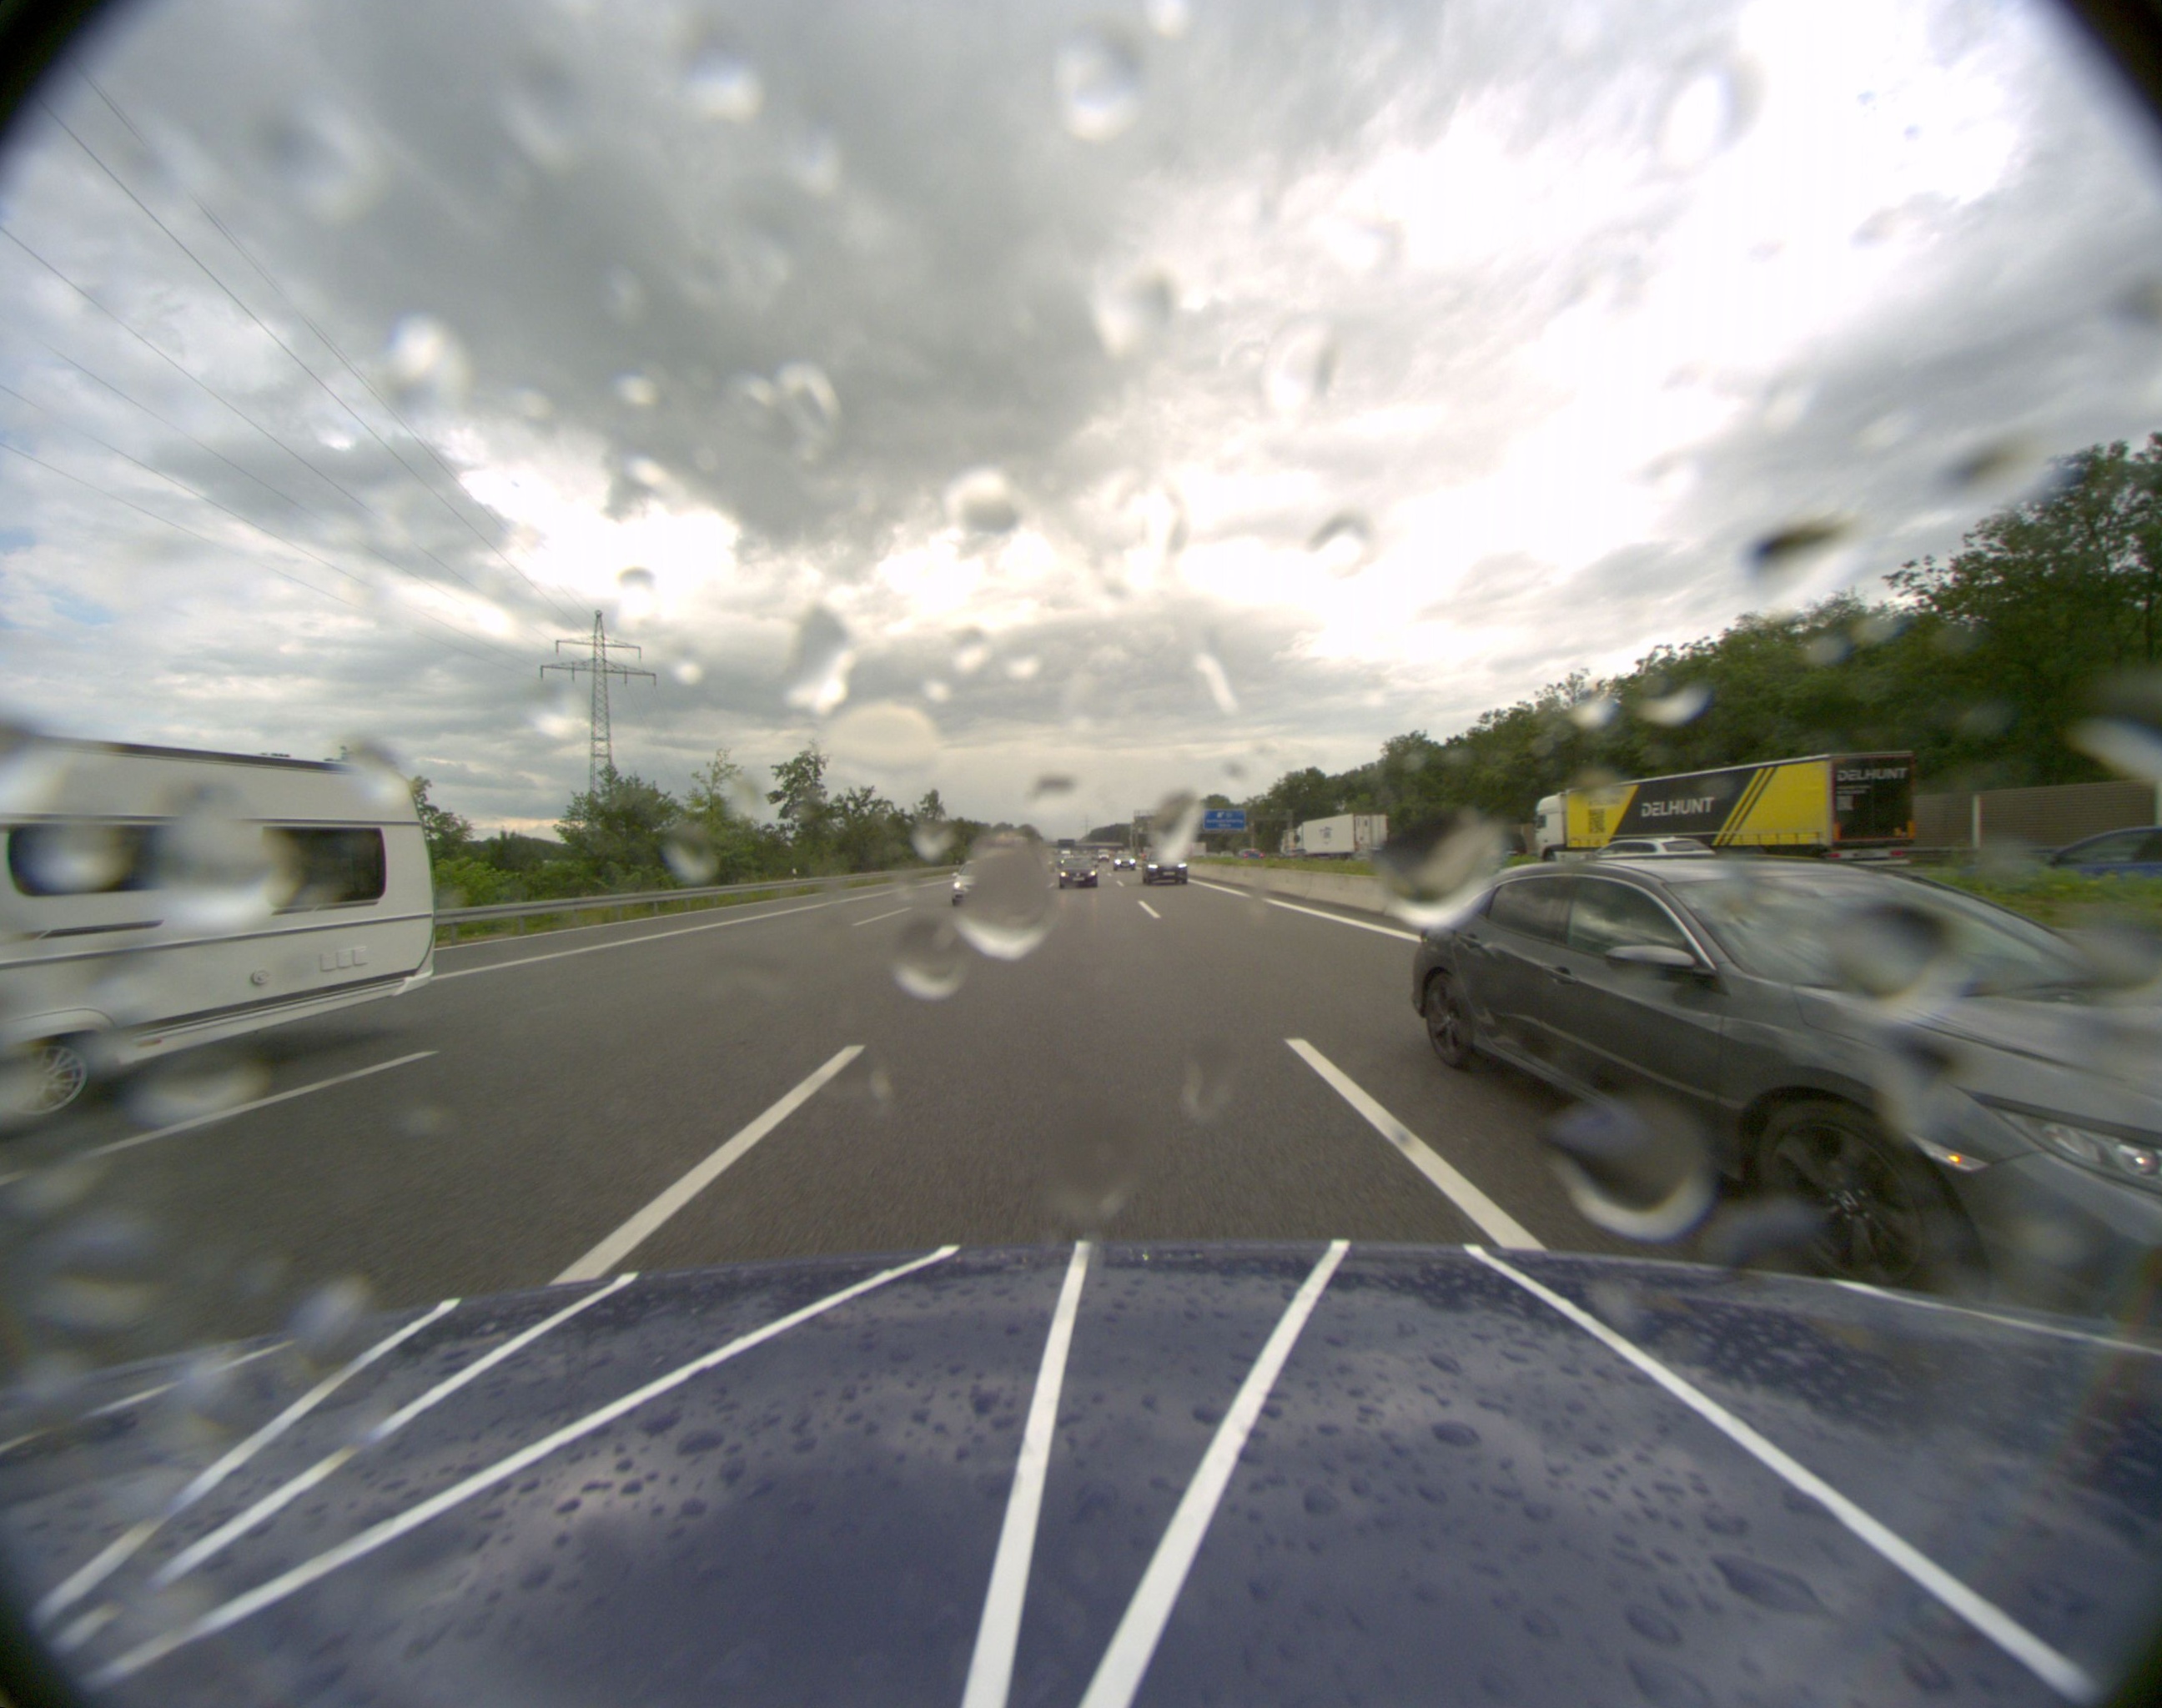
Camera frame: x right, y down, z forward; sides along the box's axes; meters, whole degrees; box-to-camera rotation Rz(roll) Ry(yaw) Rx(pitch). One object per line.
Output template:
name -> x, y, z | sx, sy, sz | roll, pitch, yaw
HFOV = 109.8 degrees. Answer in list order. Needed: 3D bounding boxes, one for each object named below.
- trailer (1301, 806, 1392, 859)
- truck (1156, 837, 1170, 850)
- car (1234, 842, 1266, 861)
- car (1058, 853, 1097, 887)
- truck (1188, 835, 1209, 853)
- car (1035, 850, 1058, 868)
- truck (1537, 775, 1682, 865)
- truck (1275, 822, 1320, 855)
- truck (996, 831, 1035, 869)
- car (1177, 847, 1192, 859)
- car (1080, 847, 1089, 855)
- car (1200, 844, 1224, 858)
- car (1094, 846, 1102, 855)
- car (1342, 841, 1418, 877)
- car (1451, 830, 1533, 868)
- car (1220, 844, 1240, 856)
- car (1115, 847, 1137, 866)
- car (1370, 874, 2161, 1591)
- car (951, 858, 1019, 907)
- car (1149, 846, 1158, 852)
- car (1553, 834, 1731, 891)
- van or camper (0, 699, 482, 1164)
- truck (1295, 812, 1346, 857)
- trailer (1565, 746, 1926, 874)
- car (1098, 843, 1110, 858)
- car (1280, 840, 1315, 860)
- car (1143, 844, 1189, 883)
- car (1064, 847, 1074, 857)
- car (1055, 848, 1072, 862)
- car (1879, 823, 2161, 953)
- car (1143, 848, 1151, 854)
trailer -> 21.982, -1.701, 64.043 | 2.732, 3.863, 14.050 | -3, 1, 1
truck -> 26.156, -3.416, 243.436 | 3.202, 4.005, 10.841 | -3, 1, 1
car -> 14.964, -0.242, 67.352 | 1.770, 1.528, 4.582 | -3, 1, 0
car -> -0.113, 0.739, 36.231 | 1.717, 1.437, 4.000 | -2, 1, 1
truck -> 19.051, -1.576, 123.323 | 2.335, 2.812, 6.248 | -3, 1, 0
car -> -3.138, 0.441, 69.628 | 1.840, 1.437, 4.000 | -2, 1, 1
truck -> 25.719, -1.552, 37.424 | 2.684, 3.941, 6.442 | -3, 1, 1
truck -> 26.971, -1.880, 95.222 | 2.806, 3.812, 10.007 | -3, 1, 1
truck -> -6.698, -0.453, 79.325 | 2.870, 3.633, 9.594 | -3, 1, 1
car -> 14.278, -0.201, 105.072 | 1.592, 1.528, 3.548 | -3, 1, 0
car -> 0.916, -0.719, 196.529 | 1.998, 2.002, 4.000 | -3, 1, 1
car -> 14.935, -0.347, 86.795 | 1.998, 1.528, 3.999 | -3, 1, 0
car -> 4.109, -0.825, 183.214 | 1.998, 2.002, 4.000 | -3, 1, 1
car -> 13.901, 0.189, 35.644 | 1.770, 1.528, 4.582 | -3, 1, 0
car -> 22.254, -0.291, 41.397 | 1.770, 1.883, 5.038 | -3, 1, 1
car -> 19.759, -0.547, 101.002 | 1.770, 1.528, 4.582 | -3, 1, 0
car -> 4.068, 0.181, 68.531 | 1.840, 1.615, 4.915 | -2, 1, 3
car -> 3.253, 0.893, 3.720 | 1.765, 1.361, 5.059 | -2, 0, 1
car -> -3.203, 0.915, 26.019 | 1.683, 1.437, 4.000 | -2, 1, 1
car -> 18.856, -1.272, 197.279 | 1.998, 1.528, 3.999 | -3, 1, 0
car -> 17.533, 0.215, 24.164 | 1.770, 1.528, 5.240 | -3, 1, 1
van or camper -> -7.537, 0.497, 4.358 | 2.390, 2.723, 7.207 | -3, 1, 0
truck -> 22.022, -1.778, 70.093 | 2.732, 3.863, 6.003 | -3, 1, 0
trailer -> 25.600, -1.479, 31.171 | 2.684, 3.941, 14.051 | -3, 1, 1
car -> 4.209, -0.671, 138.585 | 1.998, 2.524, 4.808 | -3, 1, 1
car -> 18.303, -0.360, 64.433 | 1.763, 1.528, 3.999 | -3, 1, 0
car -> 4.051, 0.403, 37.057 | 1.913, 1.681, 5.169 | -2, 1, 3
car -> -2.701, -0.500, 167.455 | 1.998, 2.002, 4.000 | -3, 1, 1
car -> -2.178, 0.114, 97.982 | 1.998, 1.701, 3.999 | -3, 1, 0
car -> 13.918, 0.381, 9.836 | 1.770, 1.528, 5.160 | -3, 1, 1
car -> 18.522, -0.945, 213.263 | 1.998, 1.528, 3.999 | -3, 1, 0
